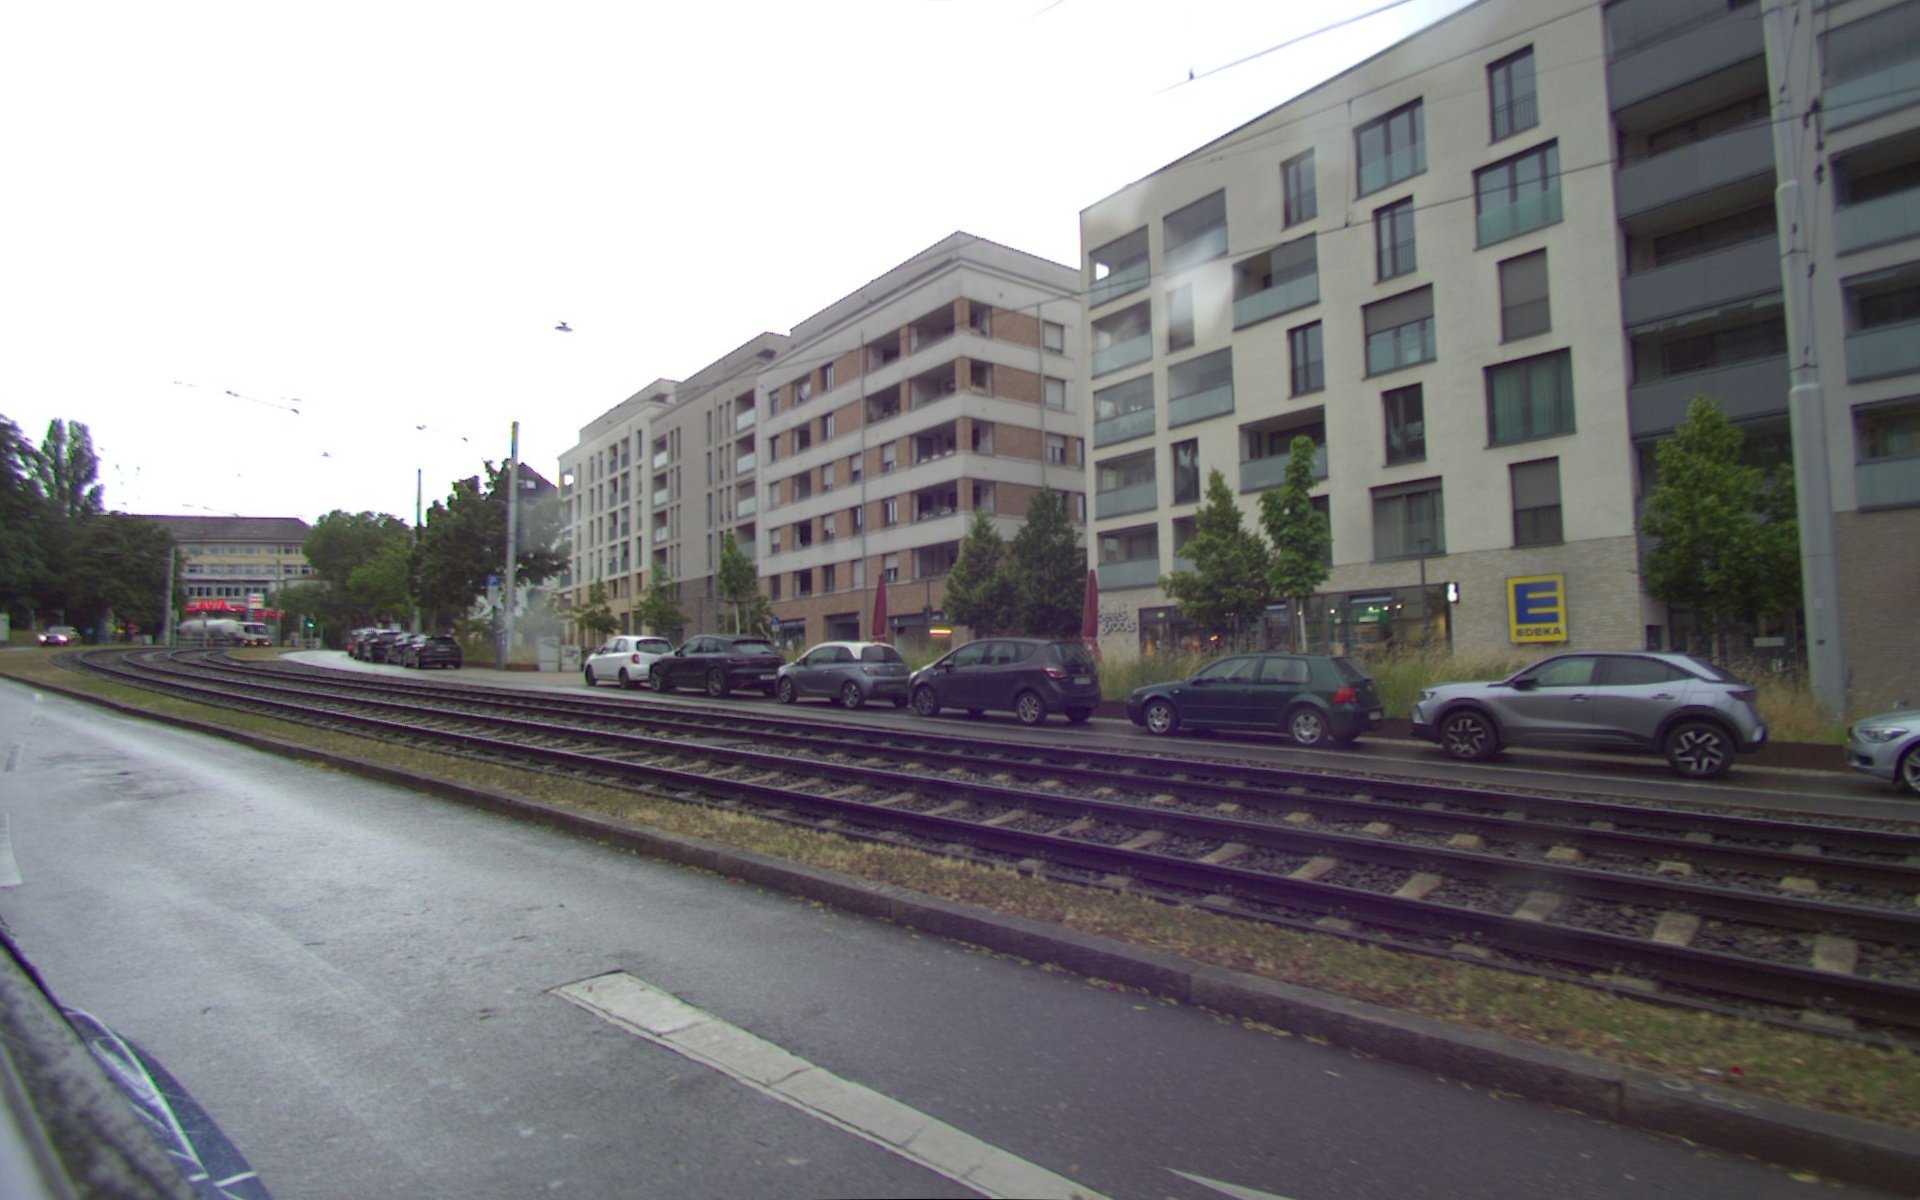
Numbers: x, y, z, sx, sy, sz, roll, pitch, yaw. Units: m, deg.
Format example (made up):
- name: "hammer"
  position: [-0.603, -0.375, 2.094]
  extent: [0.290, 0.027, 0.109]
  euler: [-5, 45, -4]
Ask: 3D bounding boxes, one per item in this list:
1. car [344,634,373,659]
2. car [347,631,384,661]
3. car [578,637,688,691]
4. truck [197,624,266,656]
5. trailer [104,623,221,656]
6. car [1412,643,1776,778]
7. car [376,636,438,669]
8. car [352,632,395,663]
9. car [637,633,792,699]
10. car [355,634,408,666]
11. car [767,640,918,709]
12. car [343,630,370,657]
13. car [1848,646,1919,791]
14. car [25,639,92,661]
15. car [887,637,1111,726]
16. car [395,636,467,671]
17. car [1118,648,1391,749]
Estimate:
- name: "car"
  position: [-39.273, 3.041, 66.089]
  extent: [1.449, 1.543, 2.940]
  euler: [2, -3, -28]
- name: "car"
  position: [-36.501, 2.805, 62.117]
  extent: [1.640, 1.761, 4.268]
  euler: [2, -3, -35]
- name: "car"
  position: [-9.746, 1.852, 30.028]
  extent: [1.744, 1.490, 3.739]
  euler: [4, -4, -41]
- name: "truck"
  position: [-81.426, 4.514, 113.270]
  extent: [6.022, 3.426, 2.845]
  euler: [3, -4, -33]
- name: "trailer"
  position: [-86.454, 4.335, 110.052]
  extent: [9.670, 3.422, 2.821]
  euler: [2, -4, -34]
- name: "car"
  position: [8.374, 1.355, 13.572]
  extent: [3.916, 1.515, 1.755]
  euler: [-1, -3, 38]
- name: "car"
  position: [-26.910, 2.506, 49.157]
  extent: [1.716, 1.500, 4.262]
  euler: [2, -3, -42]
- name: "car"
  position: [-33.250, 2.676, 57.329]
  extent: [1.708, 1.657, 4.543]
  euler: [1, -3, -35]
- name: "car"
  position: [-6.514, 1.685, 26.604]
  extent: [4.405, 1.573, 1.746]
  euler: [-2, -4, 42]
- name: "car"
  position: [-30.147, 2.573, 52.676]
  extent: [1.779, 1.596, 4.708]
  euler: [2, -3, -37]
- name: "car"
  position: [-2.741, 1.658, 23.193]
  extent: [3.450, 1.446, 1.532]
  euler: [-2, -4, 42]
- name: "car"
  position: [-44.393, 3.190, 74.423]
  extent: [1.559, 1.873, 4.345]
  euler: [0, -2, -32]
- name: "car"
  position: [11.945, 1.259, 10.406]
  extent: [4.078, 1.515, 1.755]
  euler: [-1, -3, 38]
- name: "car"
  position: [-64.608, 3.585, 72.640]
  extent: [1.860, 1.502, 3.858]
  euler: [2, -3, -12]
- name: "car"
  position: [0.673, 1.511, 19.826]
  extent: [4.317, 1.525, 1.701]
  euler: [-2, -2, 42]
- name: "car"
  position: [-23.185, 2.284, 44.255]
  extent: [1.941, 1.442, 4.206]
  euler: [2, -3, -40]
- name: "car"
  position: [4.677, 1.503, 16.438]
  extent: [4.009, 1.373, 1.532]
  euler: [-2, -2, 42]
